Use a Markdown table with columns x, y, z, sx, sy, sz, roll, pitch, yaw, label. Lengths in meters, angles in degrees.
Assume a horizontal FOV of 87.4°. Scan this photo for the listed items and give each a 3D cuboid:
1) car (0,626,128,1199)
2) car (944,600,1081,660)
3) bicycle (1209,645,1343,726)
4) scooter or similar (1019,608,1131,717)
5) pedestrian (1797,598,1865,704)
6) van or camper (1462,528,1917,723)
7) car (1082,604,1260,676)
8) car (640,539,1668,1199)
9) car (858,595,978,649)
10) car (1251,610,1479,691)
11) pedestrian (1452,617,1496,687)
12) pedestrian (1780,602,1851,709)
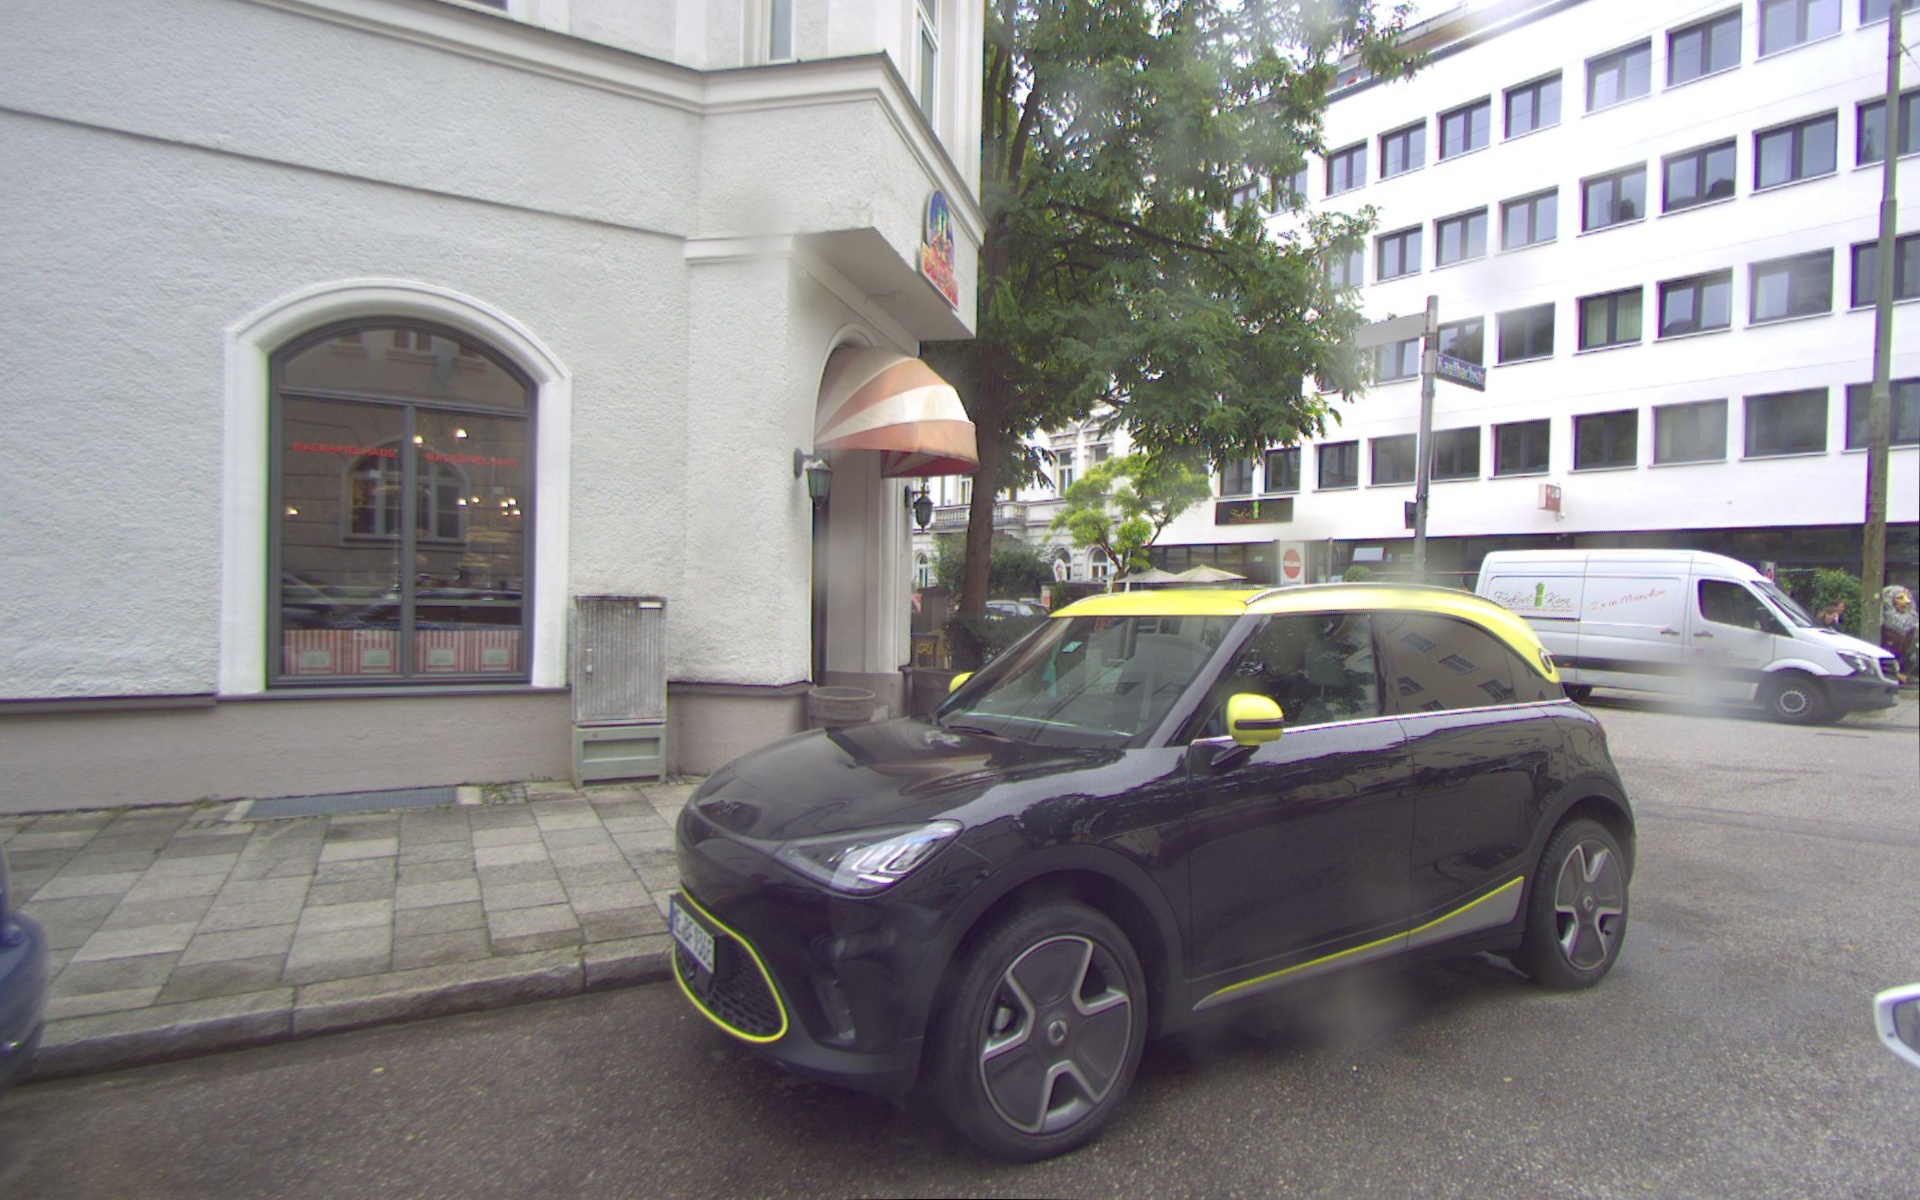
| x | y | z | sx | sy | sz | roll | pitch | yaw | label |
| --- | --- | --- | --- | --- | --- | --- | --- | --- | --- |
| -3.939 | 0.733 | 1.411 | 3.950 | 1.408 | 1.700 | 1 | -2 | -28 | car |
| 1.468 | 0.842 | 29.467 | 1.784 | 1.564 | 4.094 | 3 | -1 | -37 | car |
| 4.340 | 1.143 | 13.796 | 1.537 | 0.959 | 0.897 | 3 | 0 | 33 | bicycle |
| 1.364 | 0.742 | 11.984 | 1.169 | 1.232 | 0.554 | 2 | 2 | -18 | scooter or similar |
| 15.726 | 0.898 | 18.159 | 0.767 | 1.808 | 0.617 | 3 | 4 | 34 | pedestrian |
| 11.849 | 0.363 | 16.831 | 1.857 | 2.712 | 5.857 | 3 | -1 | -39 | van or camper |
| 5.098 | 0.938 | 24.716 | 1.784 | 1.564 | 4.092 | 3 | -1 | -38 | car |
| 0.909 | 0.736 | 3.999 | 3.899 | 1.618 | 1.669 | 2 | -2 | -30 | car |
| -1.455 | 0.686 | 33.278 | 1.897 | 1.629 | 4.090 | 1 | 0 | -40 | car |
| 8.360 | 1.018 | 20.973 | 1.787 | 1.447 | 4.014 | 4 | -2 | -43 | car |
| 11.577 | 1.159 | 22.638 | 0.580 | 1.501 | 0.653 | 3 | 0 | 4 | pedestrian |
| 15.049 | 0.948 | 17.698 | 0.779 | 1.770 | 0.769 | 3 | 4 | 34 | pedestrian |
